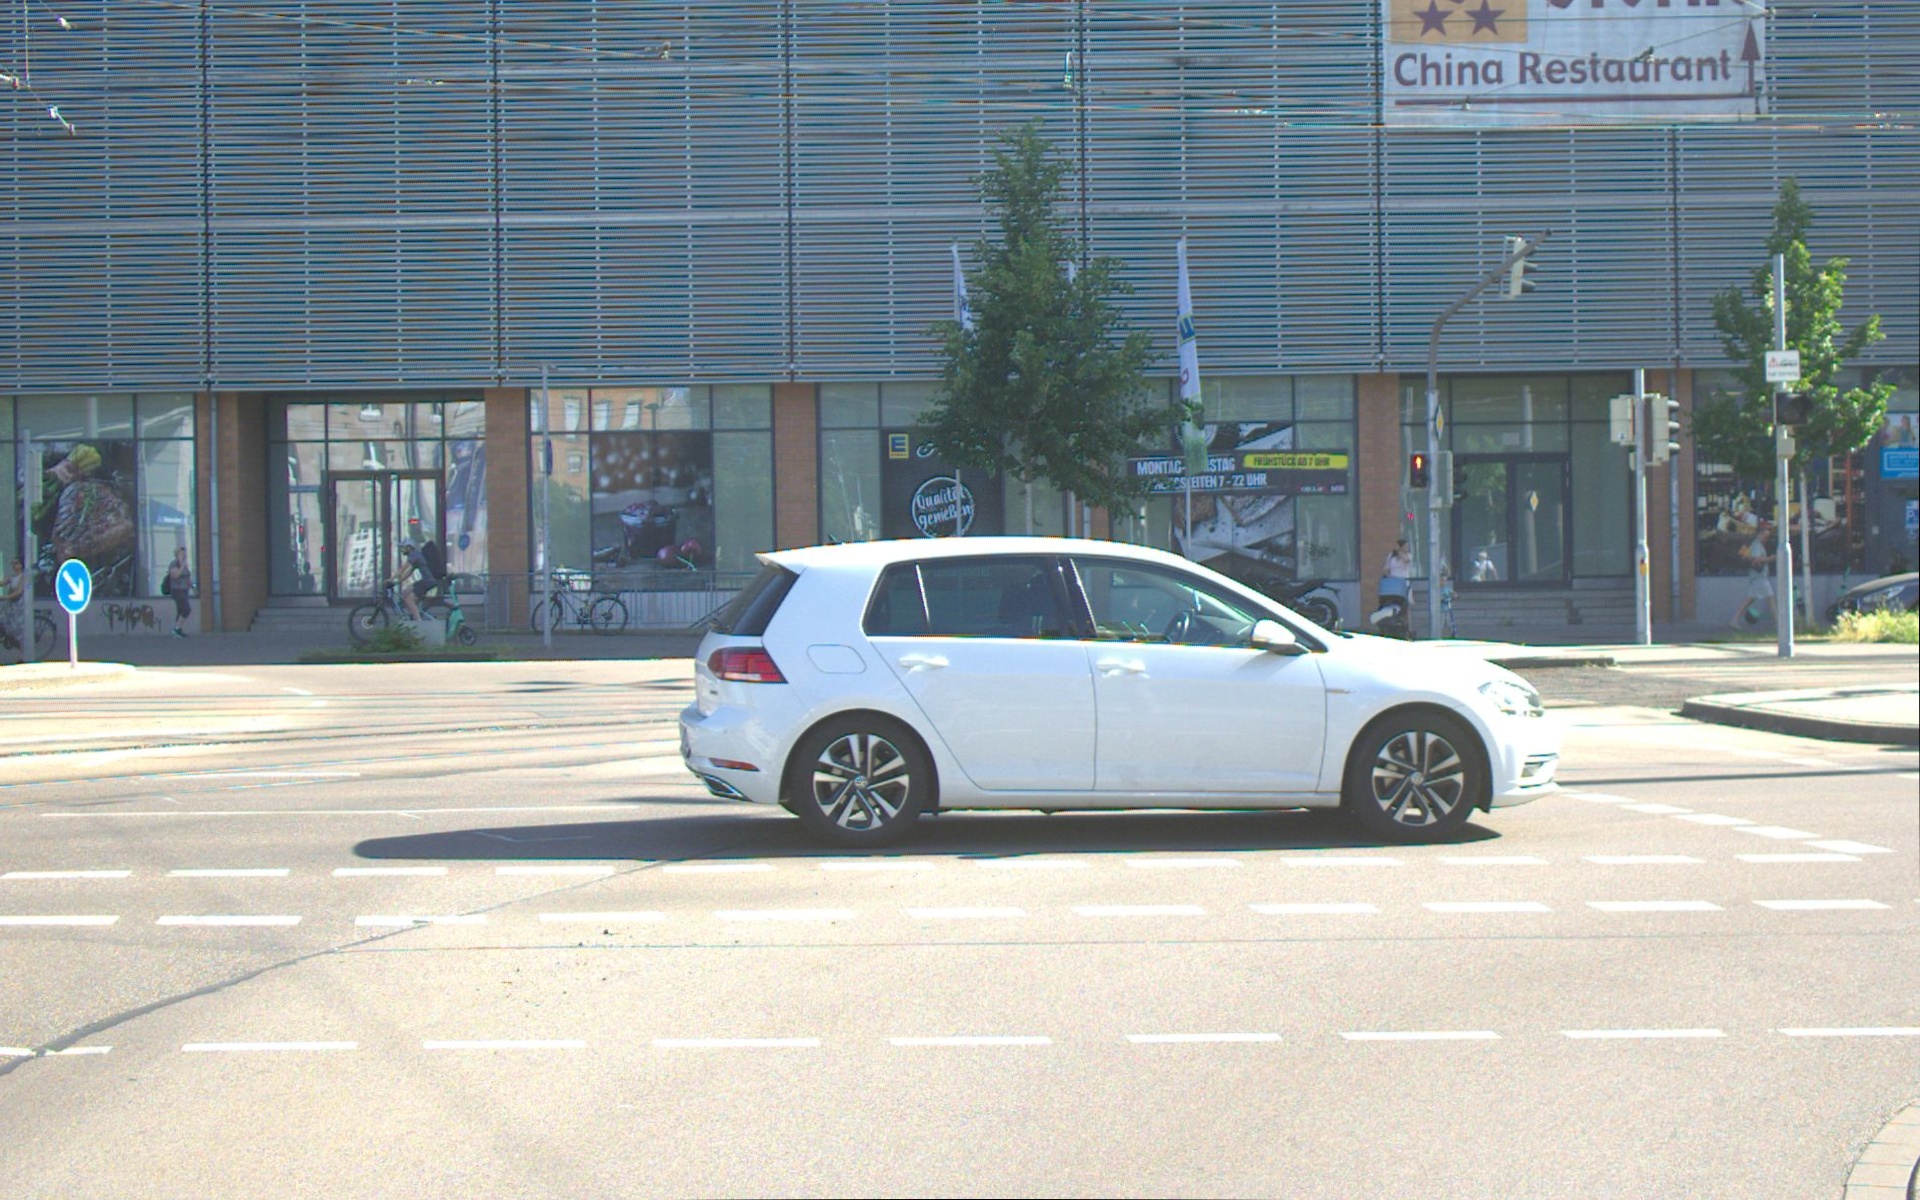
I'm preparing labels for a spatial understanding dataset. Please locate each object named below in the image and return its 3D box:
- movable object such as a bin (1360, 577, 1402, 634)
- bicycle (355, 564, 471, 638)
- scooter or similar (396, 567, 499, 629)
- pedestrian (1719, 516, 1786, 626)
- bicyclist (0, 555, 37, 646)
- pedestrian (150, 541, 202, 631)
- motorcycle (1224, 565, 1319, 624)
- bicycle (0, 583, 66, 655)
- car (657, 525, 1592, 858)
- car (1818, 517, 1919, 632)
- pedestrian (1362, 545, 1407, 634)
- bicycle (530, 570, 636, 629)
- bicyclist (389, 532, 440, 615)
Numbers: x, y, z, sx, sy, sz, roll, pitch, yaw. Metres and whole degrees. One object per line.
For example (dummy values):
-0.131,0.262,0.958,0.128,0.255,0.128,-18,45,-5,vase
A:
6.715,0.083,54.806,0.613,0.901,0.968,1,0,10,movable object such as a bin
-9.273,0.013,58.290,1.857,1.213,0.569,-1,2,-1,bicycle
-9.077,-0.042,60.923,1.792,1.062,0.613,0,2,-8,scooter or similar
13.560,-0.491,58.832,0.950,1.822,0.845,-2,-3,5,pedestrian
-15.277,0.006,54.778,0.675,1.422,0.847,1,3,43,bicyclist
-13.935,-0.252,61.101,0.661,1.595,0.594,1,0,18,pedestrian
5.496,-0.098,60.634,1.640,1.001,0.446,1,1,6,motorcycle
-15.243,0.315,54.858,0.568,1.082,1.859,1,3,43,bicycle
0.716,0.390,16.774,4.281,1.467,1.866,-1,1,-7,car
13.802,-0.250,45.921,4.146,1.464,1.841,3,0,-1,car
6.833,-0.173,55.267,0.655,1.409,0.849,1,0,10,pedestrian
-6.647,-0.012,60.540,1.815,0.986,0.558,-1,2,-10,bicycle
-9.243,-0.453,58.251,0.753,1.382,0.565,-1,2,-1,bicyclist
